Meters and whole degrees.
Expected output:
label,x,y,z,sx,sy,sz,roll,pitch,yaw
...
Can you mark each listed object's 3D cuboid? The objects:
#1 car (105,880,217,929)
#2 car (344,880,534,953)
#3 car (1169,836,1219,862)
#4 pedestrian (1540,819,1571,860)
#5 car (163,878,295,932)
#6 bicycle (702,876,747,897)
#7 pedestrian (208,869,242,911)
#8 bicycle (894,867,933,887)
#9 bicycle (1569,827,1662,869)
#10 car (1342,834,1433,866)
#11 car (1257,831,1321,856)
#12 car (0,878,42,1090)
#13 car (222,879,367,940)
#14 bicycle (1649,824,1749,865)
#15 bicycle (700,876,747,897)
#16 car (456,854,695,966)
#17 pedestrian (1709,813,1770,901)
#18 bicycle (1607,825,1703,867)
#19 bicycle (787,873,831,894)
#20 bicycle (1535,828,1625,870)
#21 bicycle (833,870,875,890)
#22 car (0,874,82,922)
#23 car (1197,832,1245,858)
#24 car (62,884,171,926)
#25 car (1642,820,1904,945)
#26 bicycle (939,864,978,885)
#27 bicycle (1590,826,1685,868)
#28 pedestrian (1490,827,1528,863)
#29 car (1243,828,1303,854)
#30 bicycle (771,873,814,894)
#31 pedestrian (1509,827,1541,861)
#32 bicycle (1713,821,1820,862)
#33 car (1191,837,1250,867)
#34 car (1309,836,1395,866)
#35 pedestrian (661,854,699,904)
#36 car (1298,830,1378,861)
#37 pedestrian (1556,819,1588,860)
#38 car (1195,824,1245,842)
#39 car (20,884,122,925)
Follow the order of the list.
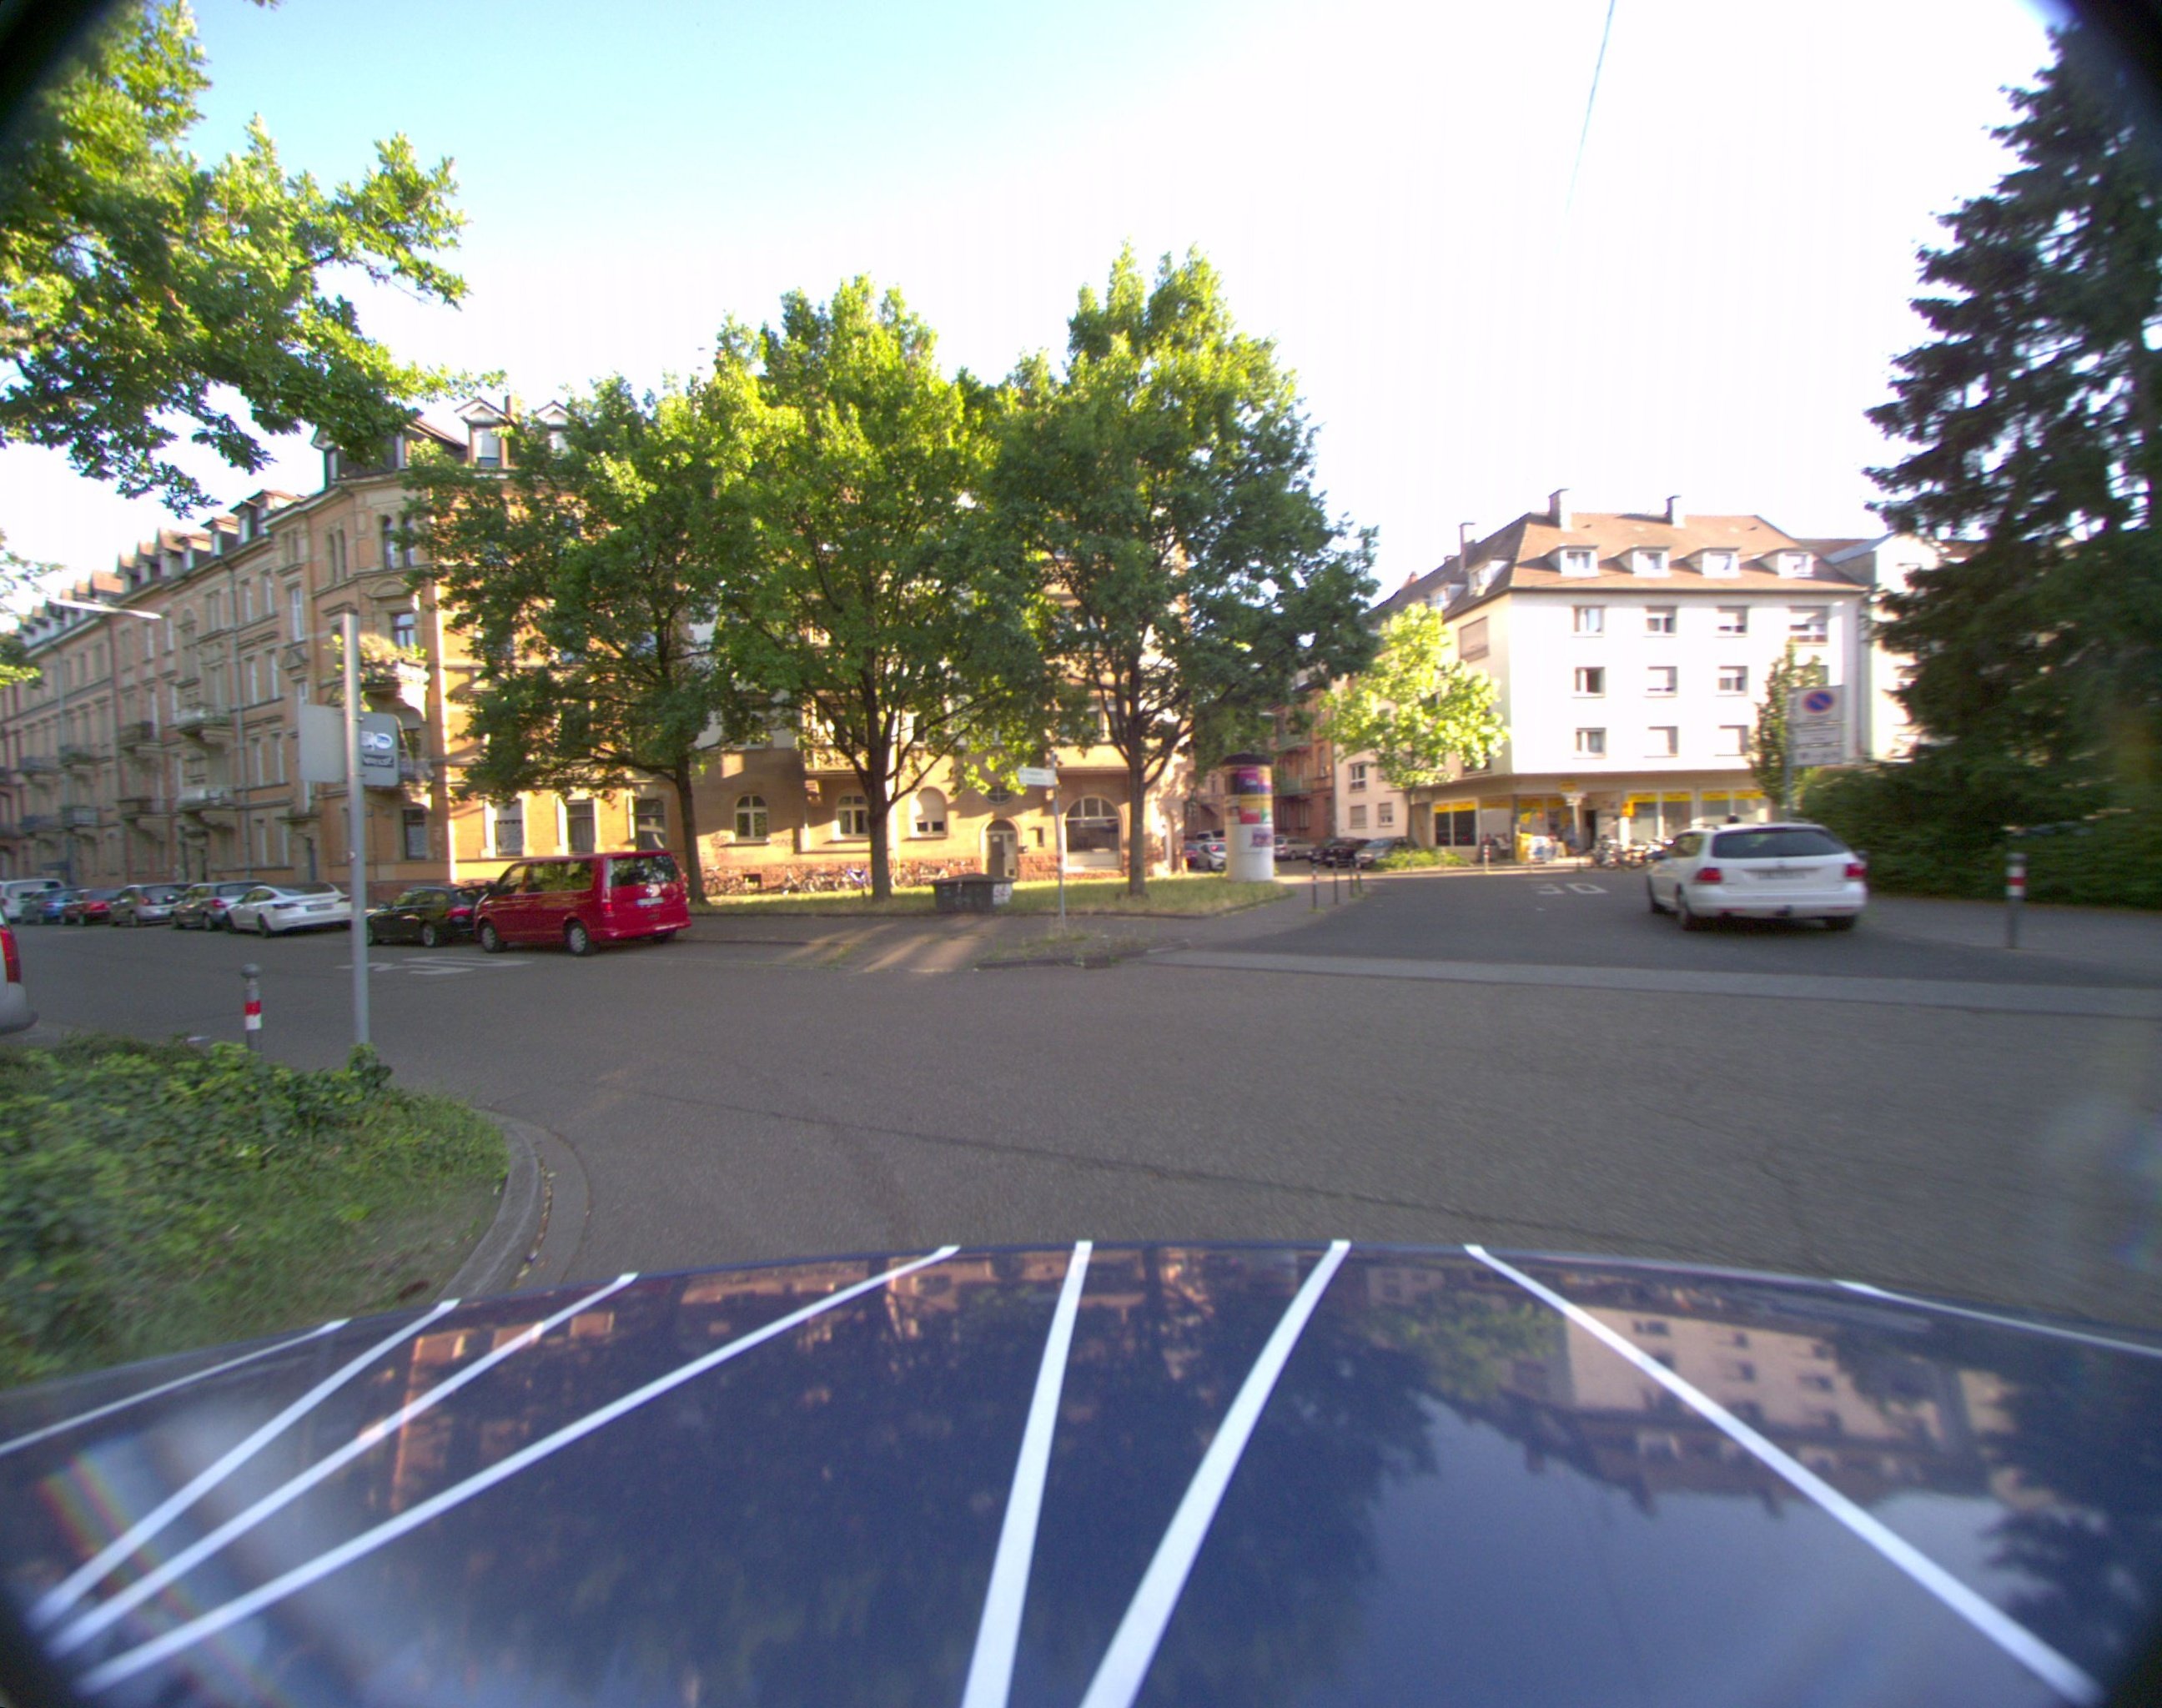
label,x,y,z,sx,sy,sz,roll,pitch,yaw
car,-32.804,1.766,27.091,3.699,1.467,1.691,-2,3,27
car,-15.398,1.449,18.221,4.260,1.426,1.784,-2,3,26
car,6.407,-0.306,43.547,1.873,1.392,3.997,-2,1,-6
pedestrian,22.577,-0.689,36.183,0.891,1.864,0.851,-2,1,-7
car,-27.461,1.626,24.479,3.872,1.467,1.691,-2,3,25
bicycle,-13.733,1.265,29.267,1.510,0.728,0.368,-2,1,-9
pedestrian,-36.746,1.544,32.633,0.720,1.709,0.676,-1,4,28
bicycle,-6.691,0.925,30.379,1.510,0.728,0.368,-2,1,-9
bicycle,19.664,-0.251,28.107,0.881,1.437,3.377,-2,2,-4
car,15.086,-0.205,37.343,4.004,1.392,1.870,-2,1,-24
car,13.386,-0.695,48.852,4.007,1.496,1.868,-3,1,-36
car,-11.694,1.261,5.559,1.945,1.903,4.561,0,2,29
car,-22.893,1.563,22.089,4.259,1.467,1.784,-2,3,29
bicycle,23.553,-0.408,29.114,0.881,1.437,3.376,-2,3,-4
bicycle,-13.577,1.236,28.876,1.510,0.728,0.415,-2,1,-9
car,-10.373,1.080,15.545,4.760,1.923,1.784,-2,3,26
pedestrian,15.459,0.064,17.863,0.861,2.002,0.987,-1,1,26
bicycle,21.740,-0.351,28.927,0.881,1.437,3.376,-2,3,-4
bicycle,-10.455,1.147,29.207,1.510,0.728,0.368,-2,1,-9
bicycle,18.321,-0.233,28.045,0.881,1.437,3.377,-2,2,-4
bicycle,-8.913,1.008,29.826,1.510,0.728,0.368,-2,1,-9
car,-47.117,1.961,34.033,4.713,1.873,1.916,-2,3,27
car,9.522,-0.609,52.070,1.942,1.638,4.530,-2,1,-6
car,-37.456,1.950,29.498,4.279,1.376,1.771,-2,3,28
car,9.717,0.308,11.115,1.918,1.442,4.303,-2,0,30
bicycle,-4.927,0.837,30.526,1.510,0.728,0.368,-4,2,-9
bicycle,20.725,-0.290,28.436,0.881,1.437,3.377,-2,2,-4
pedestrian,20.211,-0.438,35.890,1.215,1.657,0.963,-2,1,-6
car,13.172,-0.883,52.042,4.007,1.626,1.868,-3,1,-36
bicycle,-11.183,1.156,29.487,1.510,0.728,0.368,-2,1,-9
pedestrian,21.330,-0.474,36.547,0.963,1.560,0.890,-2,1,-6
bicycle,26.368,-0.535,29.371,0.881,1.437,3.376,-2,3,-4
car,7.029,-0.114,38.596,1.873,1.392,3.997,-2,1,-6
car,14.150,-0.172,39.634,4.004,1.392,1.870,-2,1,-24
pedestrian,-14.136,0.865,26.799,0.912,1.708,0.675,-3,1,-9
car,14.510,-0.487,42.929,4.004,1.559,1.870,-2,1,-22
pedestrian,22.804,-0.655,35.291,0.891,1.864,0.851,-2,1,-7
car,11.580,-1.767,63.200,4.007,1.392,1.868,-3,1,-36
car,-42.039,2.075,31.615,3.878,1.430,1.771,-2,3,27
